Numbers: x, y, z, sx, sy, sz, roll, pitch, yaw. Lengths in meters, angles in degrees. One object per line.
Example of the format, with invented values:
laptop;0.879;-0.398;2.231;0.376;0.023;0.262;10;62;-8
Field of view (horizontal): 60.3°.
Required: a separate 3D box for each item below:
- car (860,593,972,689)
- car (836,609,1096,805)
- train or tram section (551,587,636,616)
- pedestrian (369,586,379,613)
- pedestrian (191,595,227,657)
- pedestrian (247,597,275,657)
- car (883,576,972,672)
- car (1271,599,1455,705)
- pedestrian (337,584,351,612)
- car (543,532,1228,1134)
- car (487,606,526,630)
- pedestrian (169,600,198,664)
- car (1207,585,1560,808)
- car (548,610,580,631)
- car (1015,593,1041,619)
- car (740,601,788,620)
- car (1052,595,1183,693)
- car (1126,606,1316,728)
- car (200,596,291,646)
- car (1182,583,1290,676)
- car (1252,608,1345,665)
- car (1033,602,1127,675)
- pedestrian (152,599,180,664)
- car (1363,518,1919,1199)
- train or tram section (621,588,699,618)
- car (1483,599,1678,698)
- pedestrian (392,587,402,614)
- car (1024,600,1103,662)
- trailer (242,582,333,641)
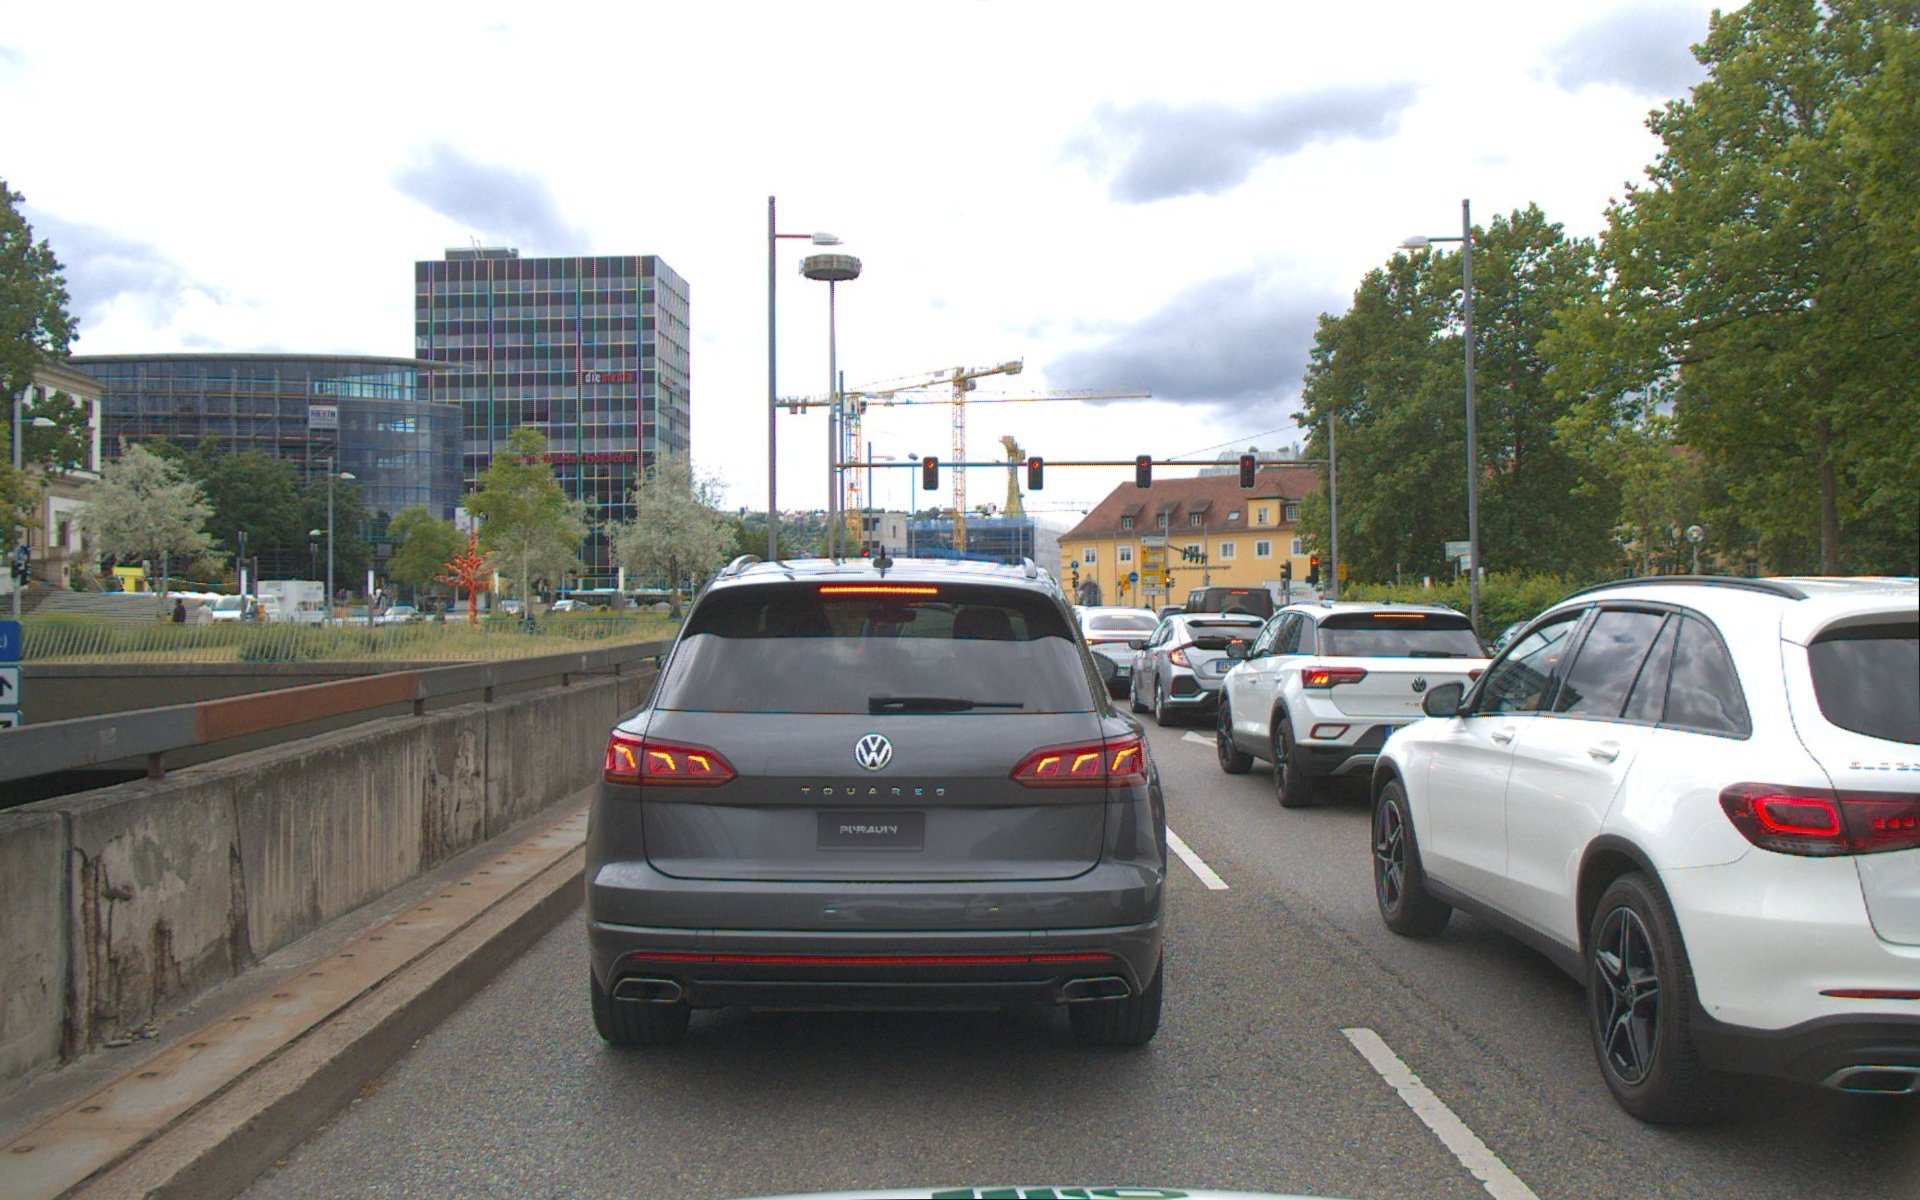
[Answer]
car;-0.804;0.727;30.999;1.912;1.628;3.930;2;0;-1
car;0.015;0.816;14.383;1.912;1.408;3.930;2;0;-1
train or tram section;-42.003;0.197;189.667;10.195;3.062;2.593;1;-2;28
pedestrian;-43.960;-0.035;124.095;0.727;2.049;0.915;-1;1;-20
pedestrian;-25.097;0.864;55.259;0.841;2.049;0.630;0;1;9
pedestrian;-24.866;0.950;58.820;0.716;2.047;0.628;-1;4;-8
car;-0.758;0.534;38.536;1.912;2.053;3.930;2;0;-1
car;6.759;0.822;28.214;1.953;1.668;4.302;0;0;-2
pedestrian;-46.476;-0.164;124.818;0.723;2.049;0.793;-1;1;0
car;-0.237;0.660;6.644;1.912;1.680;3.999;0;0;-1
car;-29.994;1.191;109.451;1.697;1.521;3.592;2;-1;-3
pedestrian;-25.340;1.025;53.955;0.781;2.049;0.829;-1;0;-28
car;3.366;0.717;14.080;1.887;1.578;4.489;1;-1;0
car;-30.415;1.621;127.241;1.697;1.521;3.592;2;-1;-3
car;4.556;0.434;111.500;1.586;1.656;3.999;2;-1;0
car;-17.762;0.986;149.827;4.142;1.631;1.746;1;-1;36
car;2.666;0.741;28.948;1.887;1.556;4.489;1;-1;0
car;3.381;0.842;22.233;1.887;1.457;4.489;1;-1;0
car;-31.375;0.890;72.818;1.953;2.048;4.692;0;1;0
car;6.479;0.686;39.195;1.871;2.049;4.011;2;-1;0
car;9.345;0.981;45.904;1.722;1.472;3.632;2;-1;-2
car;2.681;0.853;37.768;1.887;1.556;4.047;1;-1;0
pedestrian;-25.597;1.002;53.323;0.781;2.049;0.829;-1;0;-28
car;2.990;0.643;6.224;1.887;1.682;4.490;0;0;0
train or tram section;-33.628;0.336;185.280;8.750;3.062;2.593;1;-2;28
car;10.246;0.792;27.663;1.890;1.485;4.529;1;-1;5
pedestrian;-43.156;0.056;126.823;0.727;2.049;0.915;-1;1;-20
car;2.703;0.820;44.056;1.887;1.556;4.047;1;-1;0
trailer;-31.578;0.490;77.858;1.996;2.650;5.507;2;1;-1
